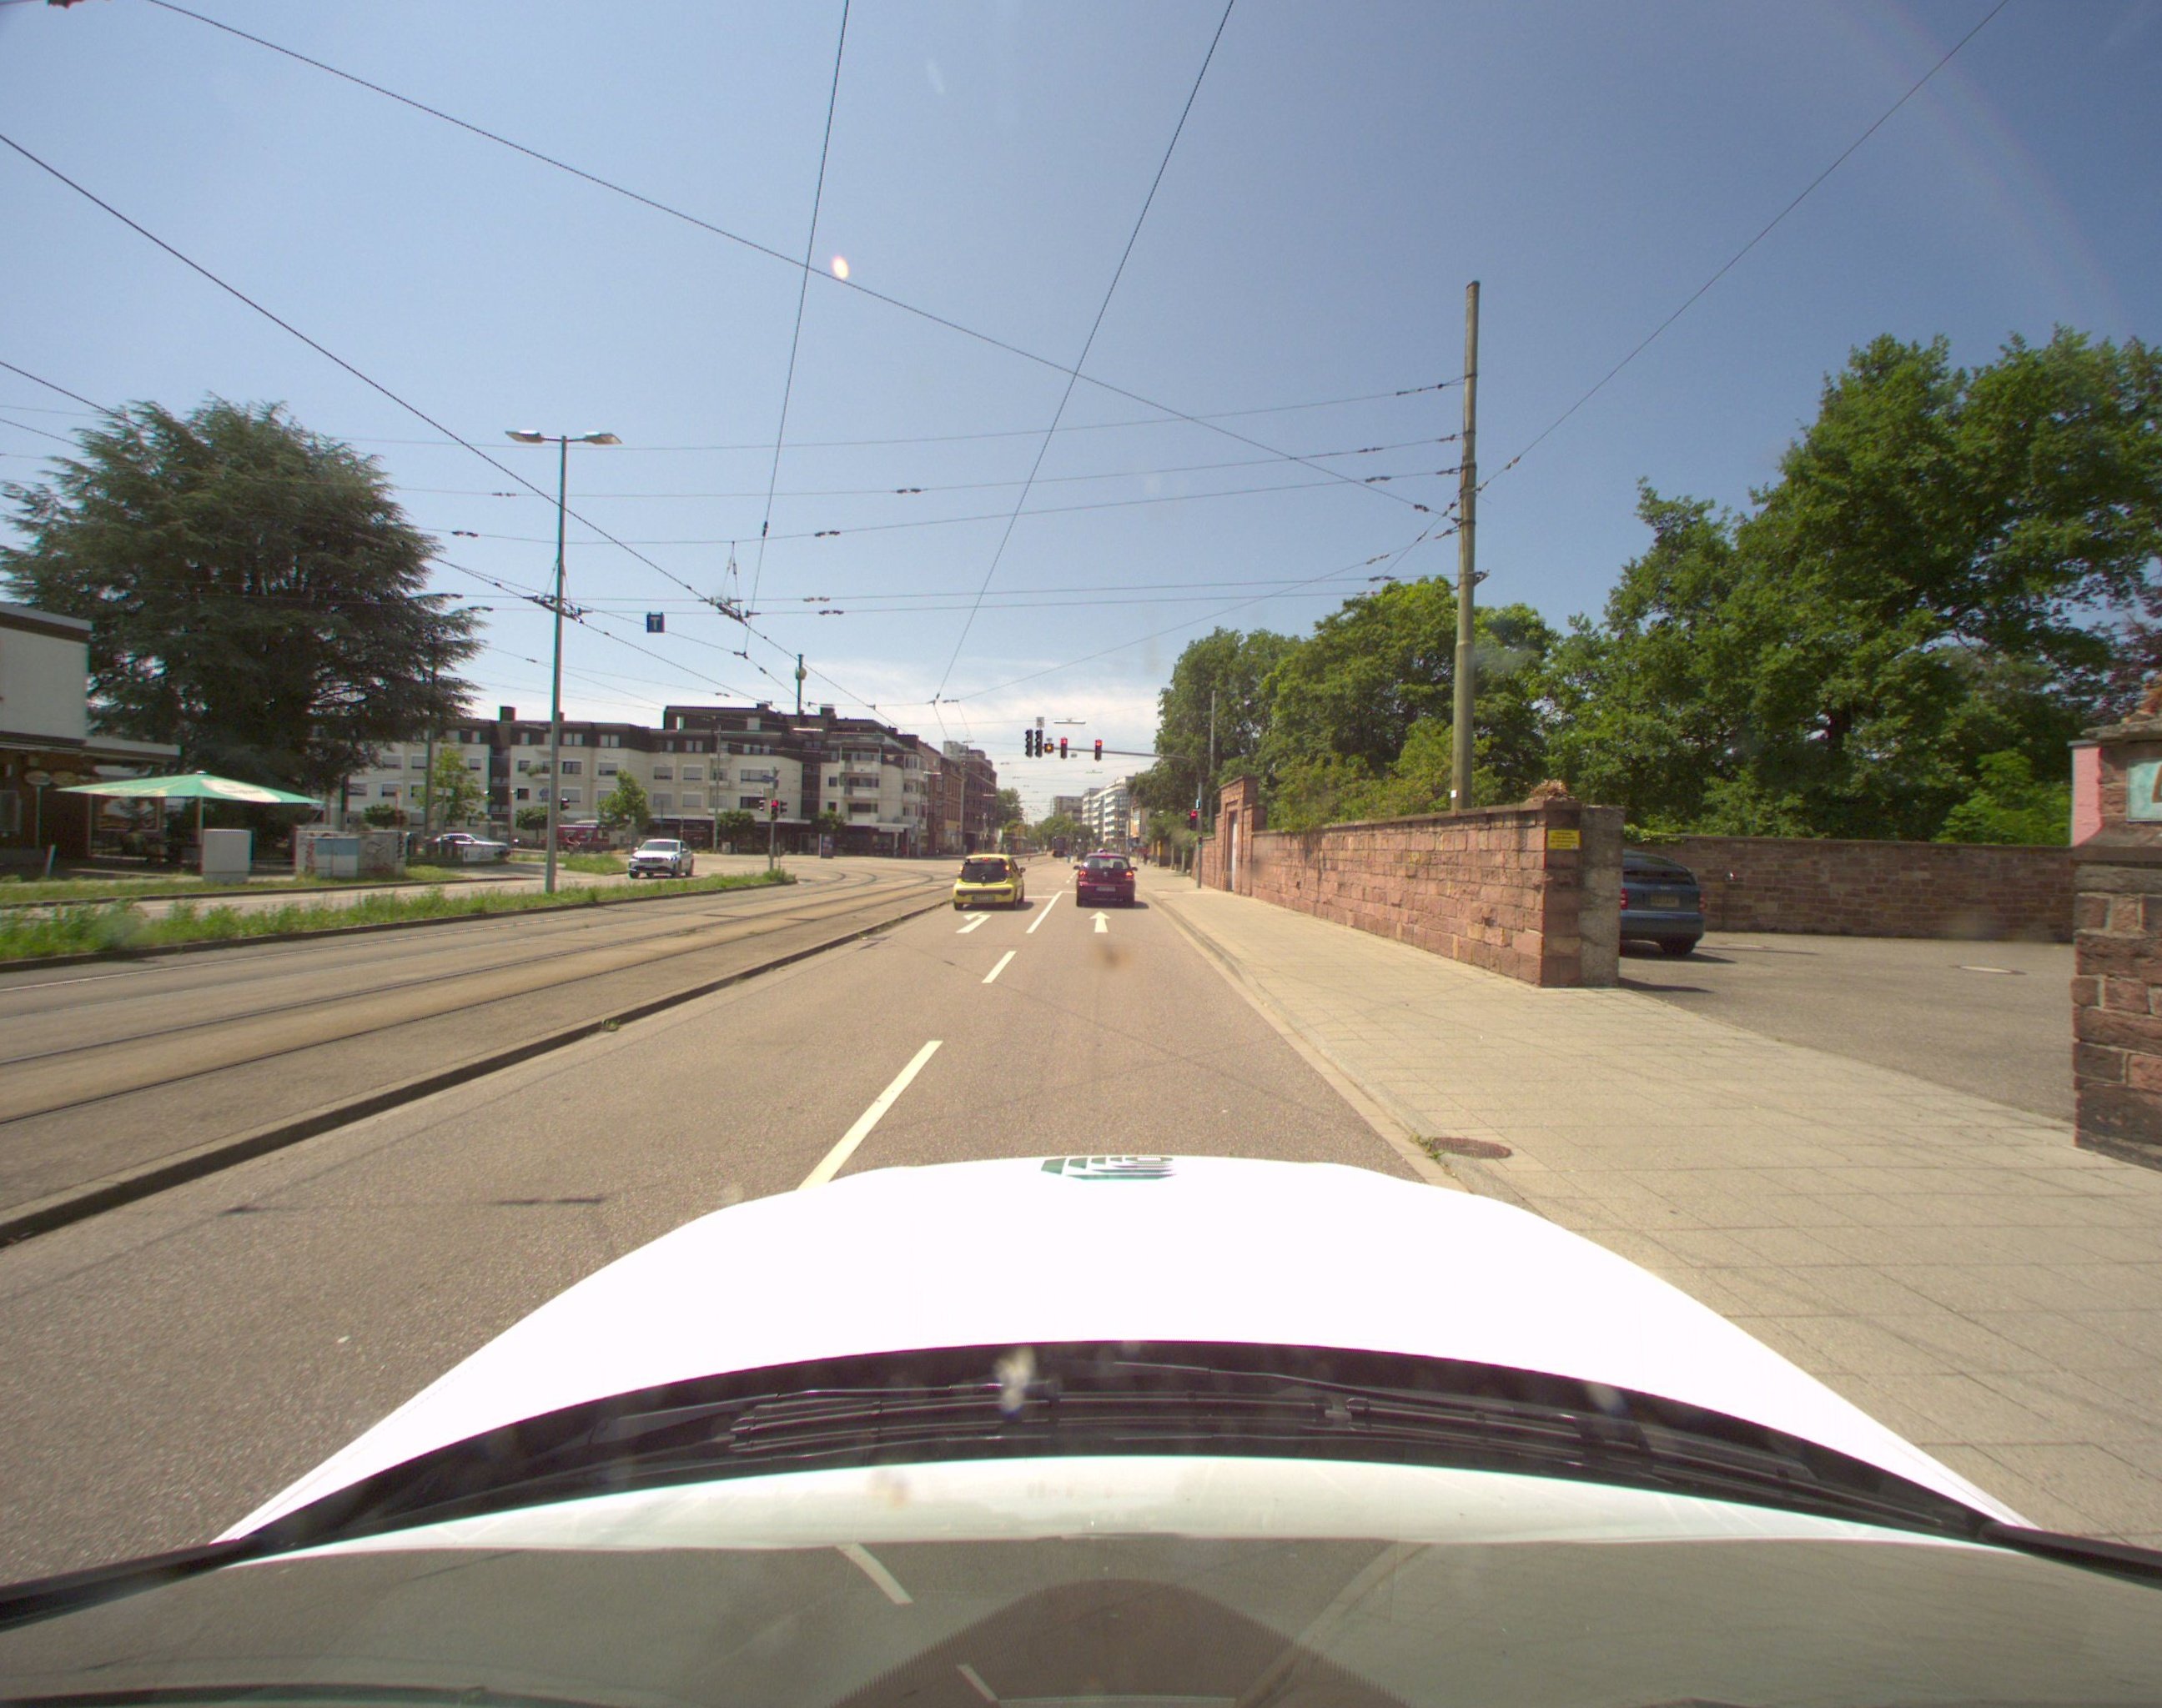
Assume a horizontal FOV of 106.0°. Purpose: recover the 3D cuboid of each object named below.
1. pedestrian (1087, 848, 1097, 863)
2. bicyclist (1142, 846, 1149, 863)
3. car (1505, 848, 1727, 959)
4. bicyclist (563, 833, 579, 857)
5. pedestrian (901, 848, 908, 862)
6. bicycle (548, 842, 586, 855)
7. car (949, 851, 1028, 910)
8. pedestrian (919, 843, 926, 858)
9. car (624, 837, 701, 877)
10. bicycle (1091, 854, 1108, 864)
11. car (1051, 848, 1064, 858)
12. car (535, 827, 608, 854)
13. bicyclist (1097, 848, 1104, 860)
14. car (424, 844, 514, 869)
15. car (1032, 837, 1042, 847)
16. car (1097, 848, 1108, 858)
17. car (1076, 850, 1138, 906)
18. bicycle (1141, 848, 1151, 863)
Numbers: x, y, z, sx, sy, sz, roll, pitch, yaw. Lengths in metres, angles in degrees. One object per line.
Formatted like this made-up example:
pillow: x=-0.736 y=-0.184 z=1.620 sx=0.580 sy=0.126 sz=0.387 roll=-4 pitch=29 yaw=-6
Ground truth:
pedestrian: x=1.236 y=0.159 z=90.658 sx=0.979 sy=1.661 sz=0.918 roll=1 pitch=0 yaw=-2
bicyclist: x=7.011 y=0.035 z=88.220 sx=0.719 sy=1.818 sz=0.889 roll=0 pitch=-1 yaw=1
car: x=8.148 y=0.669 z=12.696 sx=1.476 sy=1.482 sz=2.944 roll=2 pitch=0 yaw=-1
bicyclist: x=-33.067 y=-0.589 z=52.795 sx=0.752 sy=1.501 sz=0.479 roll=0 pitch=-1 yaw=-20
pedestrian: x=-19.570 y=0.091 z=90.381 sx=0.479 sy=1.541 sz=0.541 roll=0 pitch=-1 yaw=26
bicycle: x=-33.286 y=-0.354 z=52.743 sx=1.987 sy=0.783 sz=0.463 roll=0 pitch=-1 yaw=-20
car: x=-2.447 y=0.666 z=22.242 sx=1.717 sy=1.445 sz=3.293 roll=0 pitch=1 yaw=1
pedestrian: x=-18.399 y=-0.364 z=94.335 sx=0.614 sy=1.754 sz=0.499 roll=1 pitch=-1 yaw=-43
car: x=-17.685 y=0.136 z=34.665 sx=1.725 sy=1.610 sz=4.551 roll=0 pitch=-1 yaw=-12
bicycle: x=2.034 y=0.561 z=89.038 sx=1.861 sy=1.008 sz=0.578 roll=0 pitch=-1 yaw=-3
car: x=-3.901 y=-0.087 z=134.262 sx=1.931 sy=1.641 sz=4.001 roll=0 pitch=0 yaw=1
car: x=-45.062 y=-1.184 z=72.125 sx=5.048 sy=2.341 sz=2.244 roll=0 pitch=-1 yaw=0
bicyclist: x=2.107 y=-0.001 z=89.064 sx=0.764 sy=1.406 sz=0.506 roll=0 pitch=-1 yaw=-3
car: x=-39.092 y=0.150 z=52.129 sx=4.136 sy=1.584 sz=1.934 roll=0 pitch=-1 yaw=-8
car: x=-9.348 y=-2.460 z=171.729 sx=1.728 sy=2.013 sz=4.002 roll=1 pitch=0 yaw=2
car: x=3.130 y=-0.176 z=118.347 sx=1.567 sy=1.415 sz=3.721 roll=-1 pitch=0 yaw=1
car: x=0.726 y=0.630 z=23.661 sx=1.604 sy=1.463 sz=4.086 roll=1 pitch=0 yaw=1
bicycle: x=7.024 y=0.192 z=87.987 sx=0.832 sy=1.525 sz=4.001 roll=0 pitch=0 yaw=2
